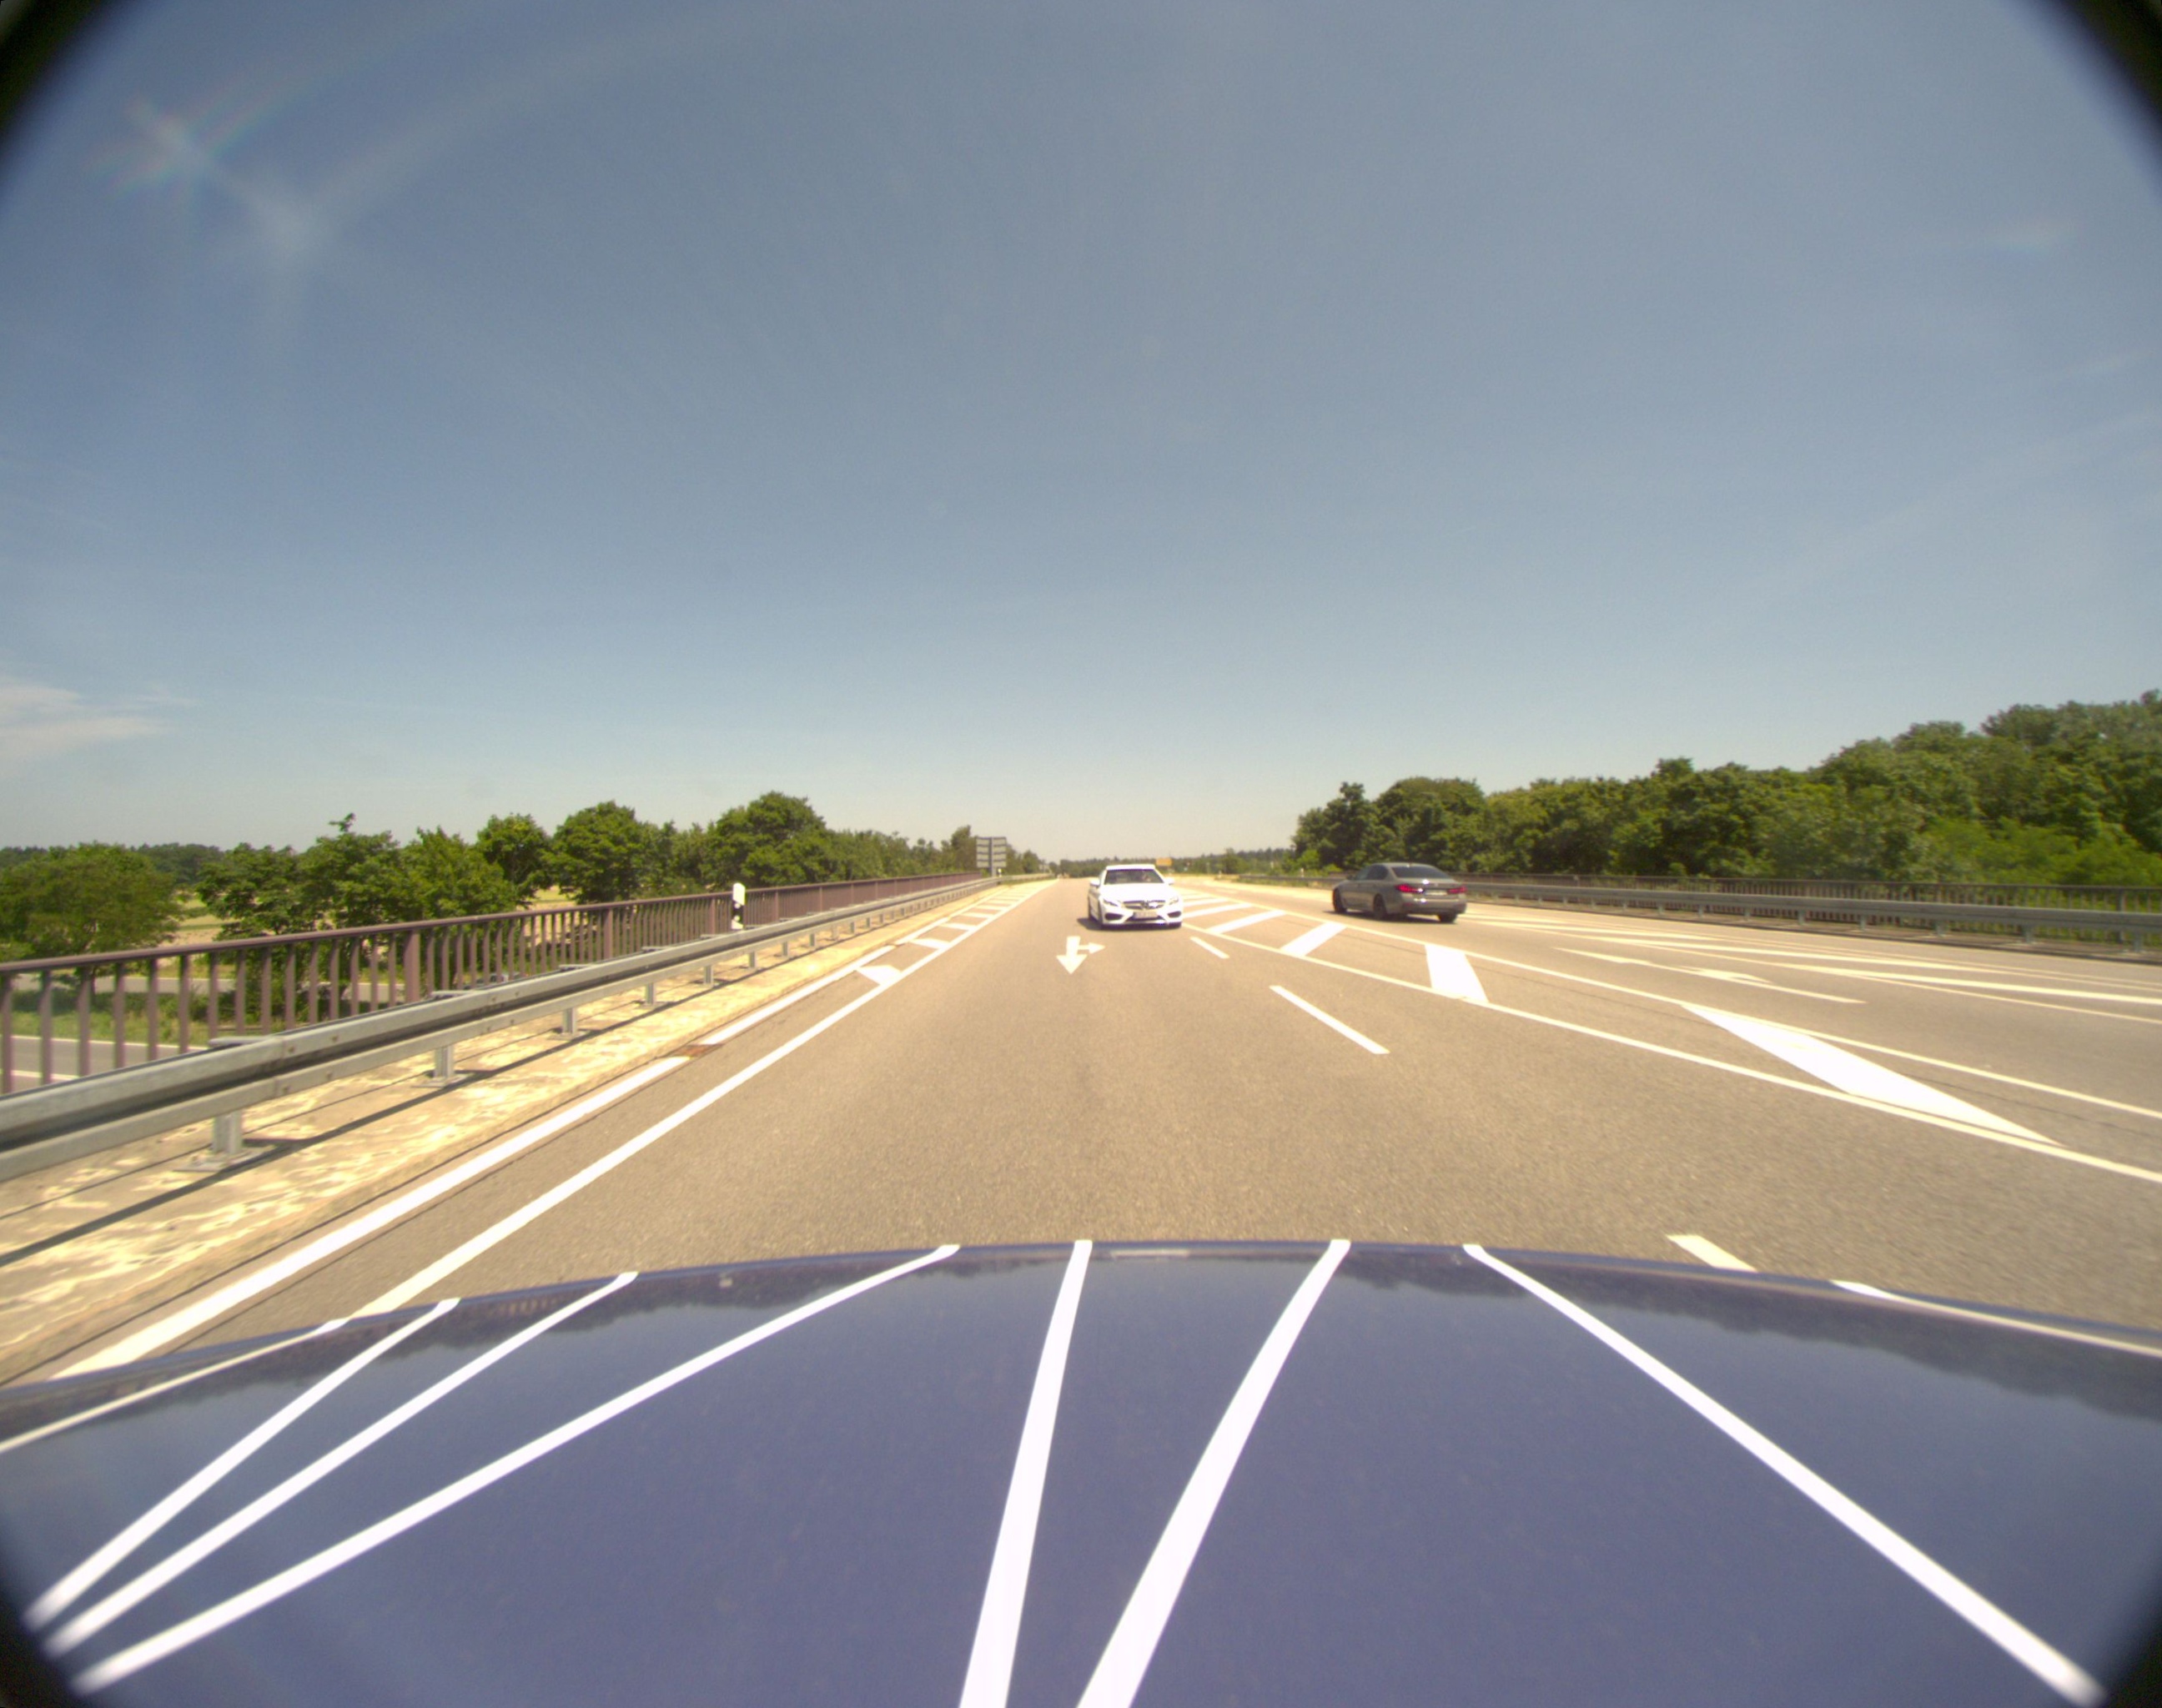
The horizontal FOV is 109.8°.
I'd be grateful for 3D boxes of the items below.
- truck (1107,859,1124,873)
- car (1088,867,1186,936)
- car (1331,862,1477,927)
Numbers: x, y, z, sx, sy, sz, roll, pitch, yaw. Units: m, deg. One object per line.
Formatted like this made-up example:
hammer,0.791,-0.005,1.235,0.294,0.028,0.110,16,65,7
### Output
truck,5.533,1.932,122.552,2.212,2.229,5.373,-1,0,-2
car,1.225,1.051,18.332,1.813,1.407,4.109,-1,0,-3
car,8.181,0.959,19.776,1.728,1.444,4.794,1,0,0
